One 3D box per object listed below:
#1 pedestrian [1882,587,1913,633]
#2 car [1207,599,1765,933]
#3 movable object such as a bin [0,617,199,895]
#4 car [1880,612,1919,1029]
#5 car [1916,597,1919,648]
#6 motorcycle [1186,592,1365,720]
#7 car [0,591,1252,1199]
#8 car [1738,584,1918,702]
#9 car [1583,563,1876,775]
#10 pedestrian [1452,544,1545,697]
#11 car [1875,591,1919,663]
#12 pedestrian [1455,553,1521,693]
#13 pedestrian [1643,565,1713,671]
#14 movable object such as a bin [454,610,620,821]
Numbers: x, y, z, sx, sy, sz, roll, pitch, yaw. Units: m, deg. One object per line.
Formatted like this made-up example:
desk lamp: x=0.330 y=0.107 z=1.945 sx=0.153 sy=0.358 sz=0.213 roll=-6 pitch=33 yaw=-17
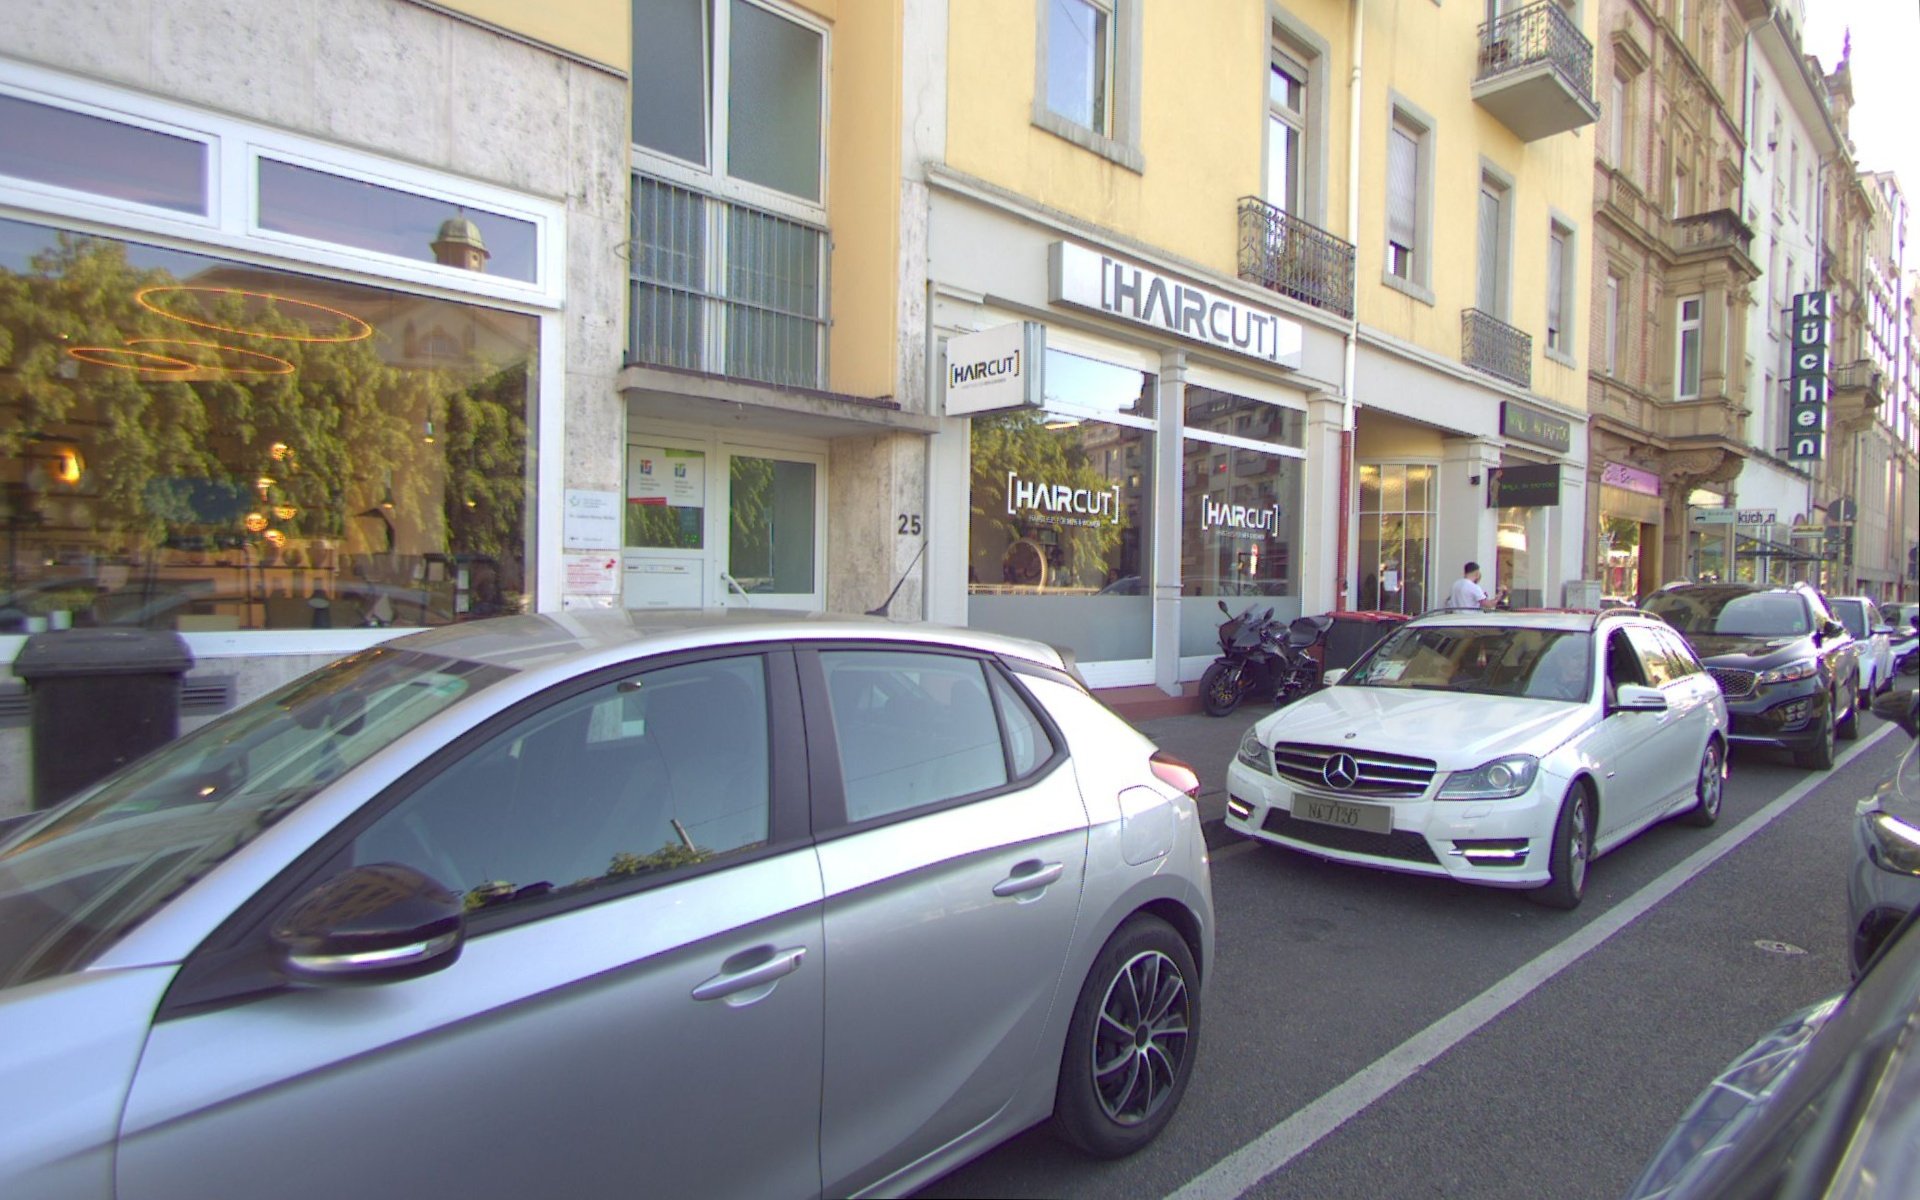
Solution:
pedestrian: x=37.005 y=0.399 z=39.950 sx=0.809 sy=1.782 sz=0.825 roll=0 pitch=0 yaw=-42
car: x=3.537 y=0.710 z=6.393 sx=4.301 sy=1.389 sz=1.671 roll=-1 pitch=0 yaw=-41
movable object such as a bin: x=-3.679 y=0.601 z=4.320 sx=0.639 sy=1.036 sz=0.737 roll=0 pitch=0 yaw=-41
car: x=5.401 y=0.751 z=4.381 sx=4.397 sy=1.385 sz=1.767 roll=-1 pitch=1 yaw=-43
car: x=26.614 y=0.574 z=26.932 sx=3.306 sy=1.334 sz=1.459 roll=-1 pitch=0 yaw=-42
motorcycle: x=3.305 y=0.524 z=10.509 sx=2.073 sy=1.144 sz=0.735 roll=-1 pitch=5 yaw=-41
car: x=-1.002 y=0.717 z=2.312 sx=3.625 sy=1.455 sz=1.585 roll=-1 pitch=0 yaw=-43
car: x=12.775 y=0.548 z=14.858 sx=2.945 sy=1.542 sz=1.582 roll=-1 pitch=0 yaw=-41
car: x=8.013 y=0.531 z=10.371 sx=4.338 sy=1.711 sz=1.802 roll=-1 pitch=0 yaw=-45
pedestrian: x=6.876 y=0.254 z=12.960 sx=0.961 sy=1.900 sz=0.532 roll=0 pitch=0 yaw=18
car: x=21.902 y=0.566 z=22.814 sx=3.736 sy=1.509 sz=1.691 roll=-1 pitch=0 yaw=-45
pedestrian: x=7.243 y=0.302 z=13.879 sx=0.627 sy=1.859 sz=0.760 roll=0 pitch=0 yaw=41
pedestrian: x=12.156 y=0.289 z=17.142 sx=0.806 sy=1.741 sz=0.835 roll=0 pitch=0 yaw=-44
movable object such as a bin: x=-2.323 y=0.582 z=5.542 sx=0.639 sy=1.036 sz=0.737 roll=0 pitch=0 yaw=-41
